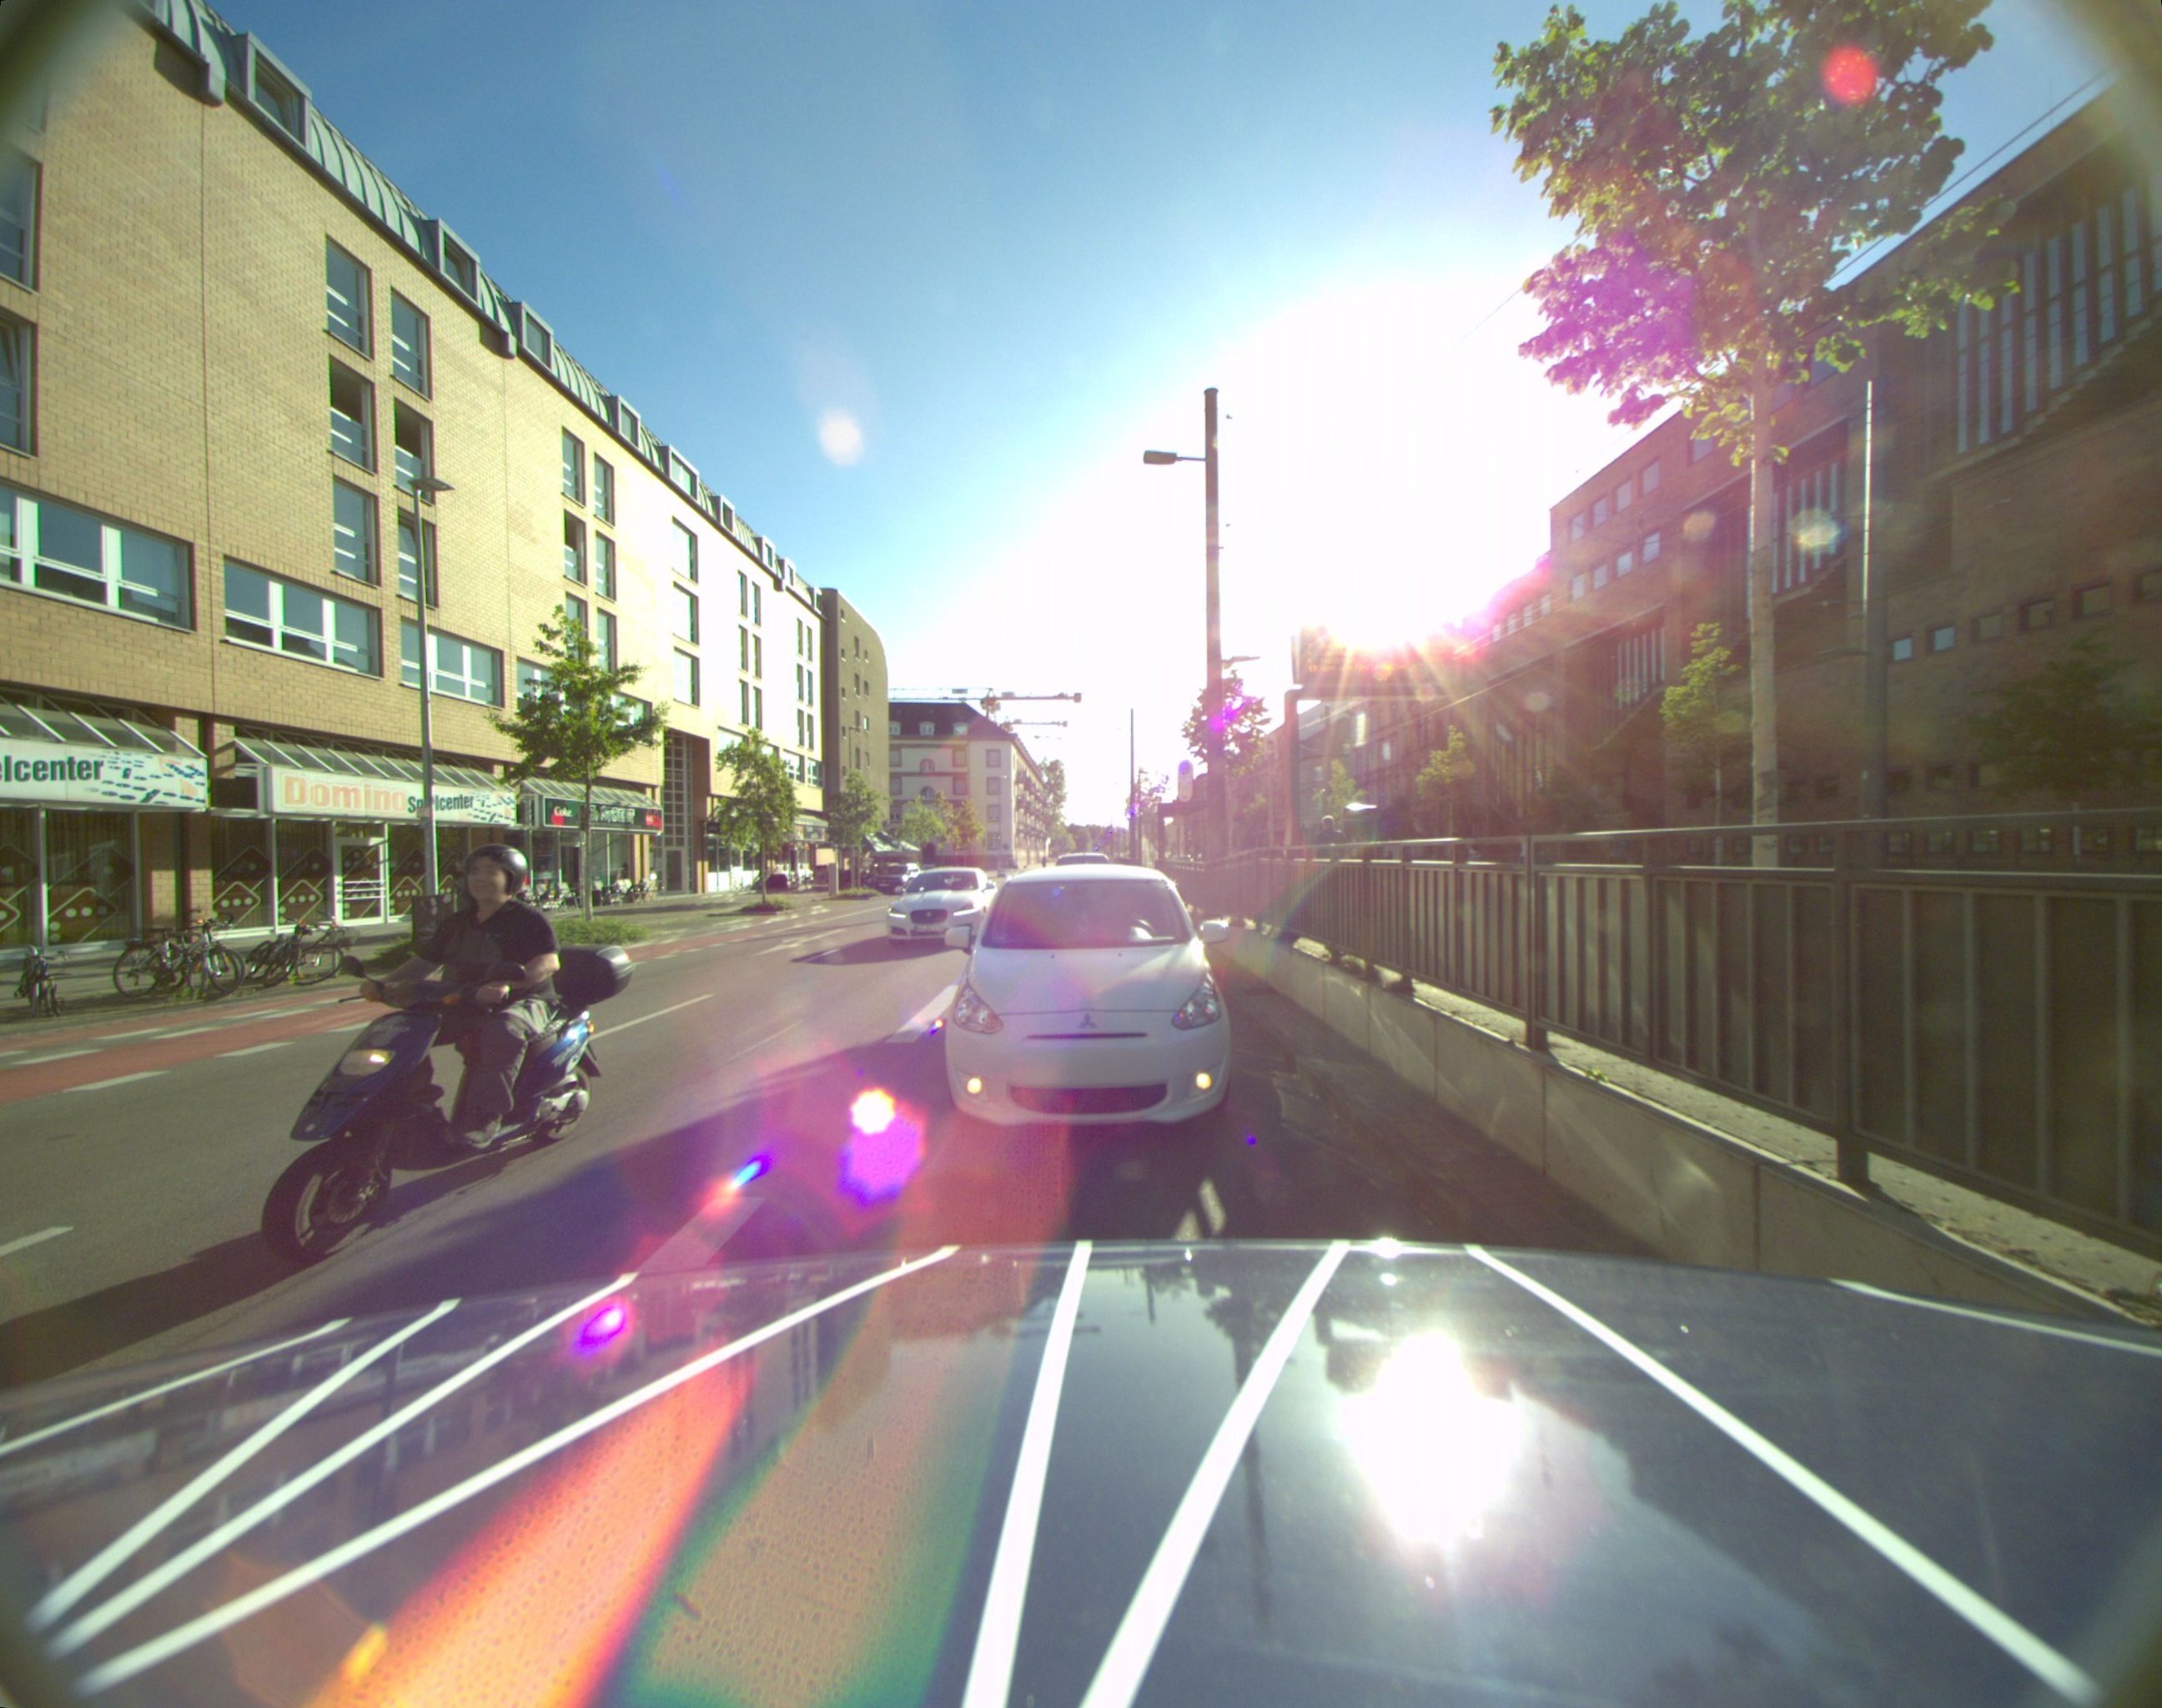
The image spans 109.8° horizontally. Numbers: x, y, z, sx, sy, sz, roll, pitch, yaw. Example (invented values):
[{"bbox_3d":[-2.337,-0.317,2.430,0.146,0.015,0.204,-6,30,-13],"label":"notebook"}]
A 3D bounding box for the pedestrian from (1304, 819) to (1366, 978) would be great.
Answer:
[{"bbox_3d":[4.013,0.687,12.031,0.684,2.428,0.626,-2,1,-2],"label":"pedestrian"}]

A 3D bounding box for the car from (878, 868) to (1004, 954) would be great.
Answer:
[{"bbox_3d":[-2.748,1.063,15.891,1.808,1.421,4.452,-1,0,0],"label":"car"}]

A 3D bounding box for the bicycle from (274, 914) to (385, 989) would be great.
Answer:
[{"bbox_3d":[-11.897,1.524,12.020,1.835,1.050,0.351,1,2,15],"label":"bicycle"}]

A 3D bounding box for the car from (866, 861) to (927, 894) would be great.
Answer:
[{"bbox_3d":[-9.892,1.230,40.977,1.778,1.630,4.002,1,0,9],"label":"car"}]

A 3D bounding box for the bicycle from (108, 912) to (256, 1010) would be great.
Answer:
[{"bbox_3d":[-12.340,1.441,10.437,1.835,1.156,0.565,1,2,15],"label":"bicycle"}]

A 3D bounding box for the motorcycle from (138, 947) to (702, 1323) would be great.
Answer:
[{"bbox_3d":[-3.033,1.189,3.996,0.806,1.044,2.375,-2,1,1],"label":"motorcycle"}]

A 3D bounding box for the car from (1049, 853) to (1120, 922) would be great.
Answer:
[{"bbox_3d":[0.087,0.848,21.157,1.720,1.591,4.215,-2,1,0],"label":"car"}]

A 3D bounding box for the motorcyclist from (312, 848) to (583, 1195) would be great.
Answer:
[{"bbox_3d":[-3.077,0.772,3.753,0.798,1.571,0.529,-2,1,0],"label":"motorcyclist"}]

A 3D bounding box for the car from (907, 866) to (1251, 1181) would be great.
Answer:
[{"bbox_3d":[-0.009,0.914,6.035,1.720,1.422,4.215,-2,1,0],"label":"car"}]

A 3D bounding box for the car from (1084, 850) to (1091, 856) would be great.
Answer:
[{"bbox_3d":[2.167,-0.365,244.382,2.164,1.904,4.472,-2,0,0],"label":"car"}]

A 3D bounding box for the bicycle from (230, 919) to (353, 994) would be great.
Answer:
[{"bbox_3d":[-12.010,1.539,11.559,1.835,0.980,0.449,1,2,15],"label":"bicycle"}]

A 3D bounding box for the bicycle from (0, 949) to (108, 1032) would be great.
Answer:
[{"bbox_3d":[-12.745,1.650,9.291,1.772,0.827,0.366,1,2,15],"label":"bicycle"}]
